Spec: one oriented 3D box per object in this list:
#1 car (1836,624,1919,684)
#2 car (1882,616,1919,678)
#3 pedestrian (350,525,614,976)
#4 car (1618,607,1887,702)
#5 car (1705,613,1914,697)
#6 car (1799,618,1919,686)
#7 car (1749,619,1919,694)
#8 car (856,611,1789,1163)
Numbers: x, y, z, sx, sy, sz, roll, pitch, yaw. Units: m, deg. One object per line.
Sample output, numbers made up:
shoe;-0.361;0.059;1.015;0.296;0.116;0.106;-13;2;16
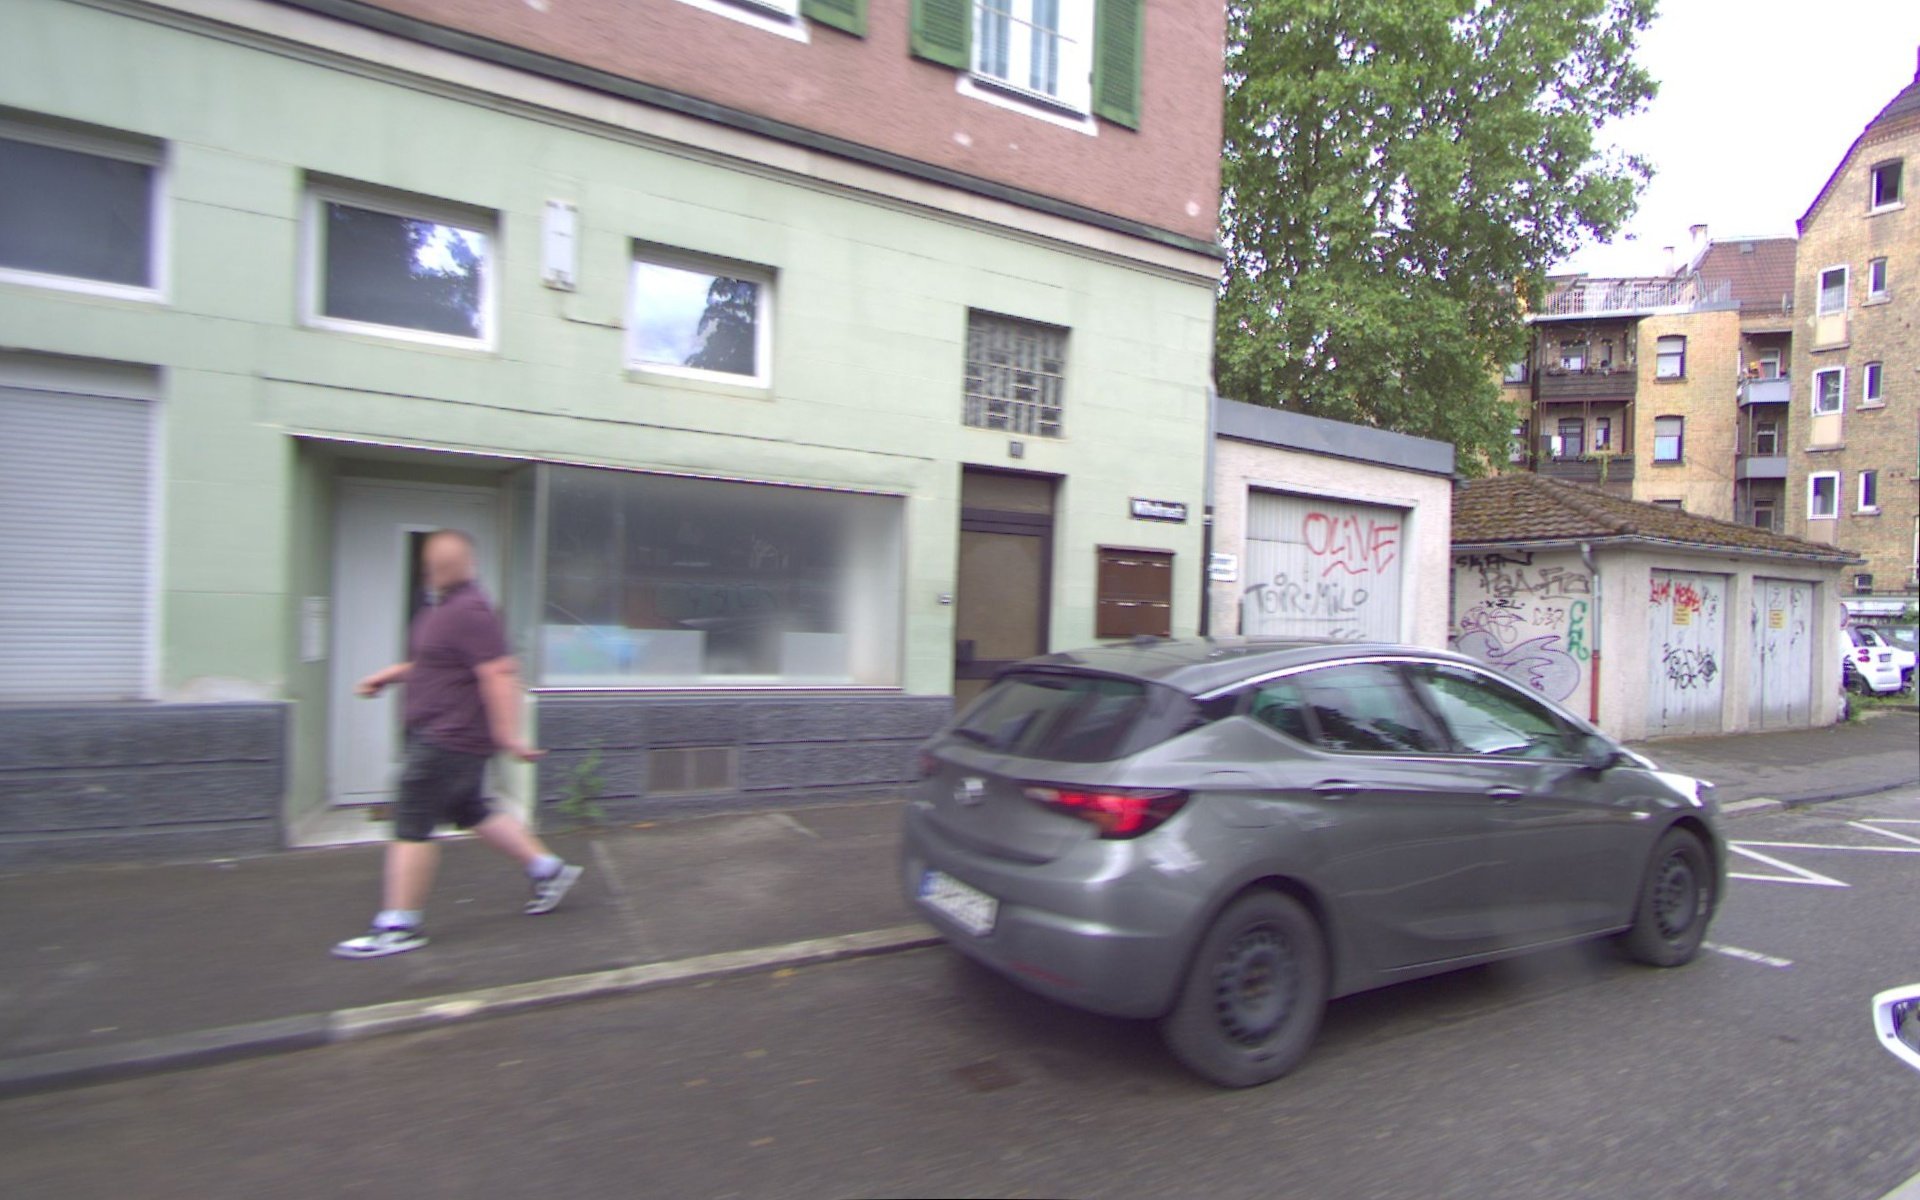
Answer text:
car;23.758;1.303;24.295;1.527;1.433;3.582;2;-2;-28
car;26.369;1.225;25.820;1.667;1.633;3.582;2;-2;-28
pedestrian;-2.147;0.583;4.492;0.973;1.767;0.757;1;2;-31
car;15.375;1.020;19.693;1.830;1.665;3.748;2;-2;-28
car;17.443;1.098;20.735;1.830;1.585;2.836;2;-2;-28
car;21.972;1.192;23.207;1.830;1.524;3.582;2;-2;-28
car;19.788;1.193;21.875;1.830;1.524;3.709;2;-2;-28
car;1.770;0.879;4.707;4.077;1.506;1.869;1;2;-29
